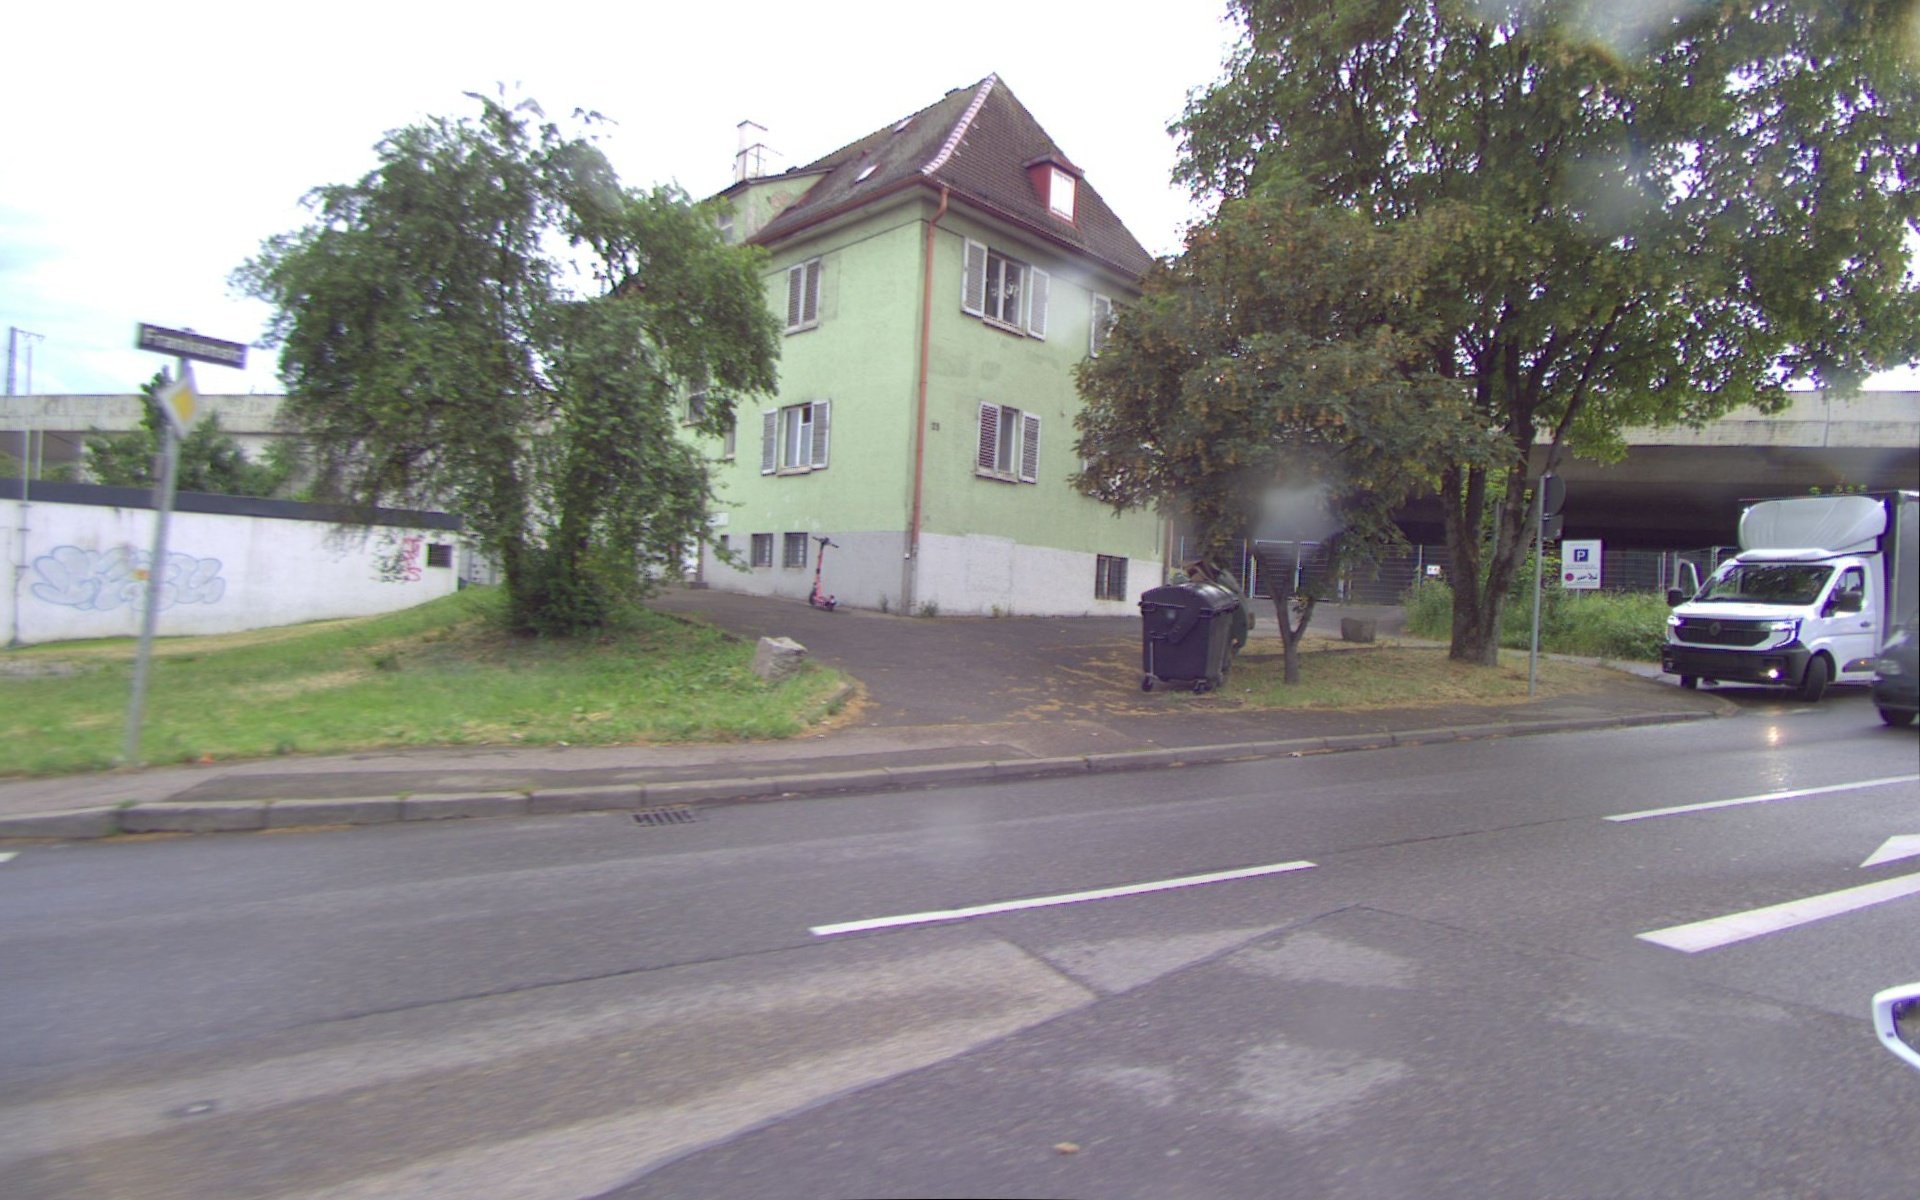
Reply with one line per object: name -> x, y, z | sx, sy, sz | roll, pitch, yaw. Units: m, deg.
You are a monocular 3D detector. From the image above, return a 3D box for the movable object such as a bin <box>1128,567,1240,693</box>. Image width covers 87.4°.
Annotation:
movable object such as a bin -> 3.090, 0.364, 13.763 | 1.268, 1.457, 1.462 | 4, 7, 18

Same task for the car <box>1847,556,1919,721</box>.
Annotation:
car -> 13.561, 0.485, 12.570 | 4.618, 1.957, 1.952 | 1, 0, -24

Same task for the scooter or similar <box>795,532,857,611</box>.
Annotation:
scooter or similar -> -2.392, -0.523, 17.810 | 0.524, 1.291, 1.513 | 1, 4, -29

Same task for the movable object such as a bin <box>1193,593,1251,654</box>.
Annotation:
movable object such as a bin -> 4.307, 0.385, 16.503 | 0.713, 0.970, 0.555 | 1, 1, -24

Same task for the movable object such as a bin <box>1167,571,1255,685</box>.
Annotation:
movable object such as a bin -> 3.788, 0.370, 15.064 | 1.079, 1.457, 1.462 | 4, 7, 18

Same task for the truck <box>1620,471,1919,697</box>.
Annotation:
truck -> 15.243, -0.201, 17.335 | 7.665, 3.280, 2.604 | 1, 1, -23
